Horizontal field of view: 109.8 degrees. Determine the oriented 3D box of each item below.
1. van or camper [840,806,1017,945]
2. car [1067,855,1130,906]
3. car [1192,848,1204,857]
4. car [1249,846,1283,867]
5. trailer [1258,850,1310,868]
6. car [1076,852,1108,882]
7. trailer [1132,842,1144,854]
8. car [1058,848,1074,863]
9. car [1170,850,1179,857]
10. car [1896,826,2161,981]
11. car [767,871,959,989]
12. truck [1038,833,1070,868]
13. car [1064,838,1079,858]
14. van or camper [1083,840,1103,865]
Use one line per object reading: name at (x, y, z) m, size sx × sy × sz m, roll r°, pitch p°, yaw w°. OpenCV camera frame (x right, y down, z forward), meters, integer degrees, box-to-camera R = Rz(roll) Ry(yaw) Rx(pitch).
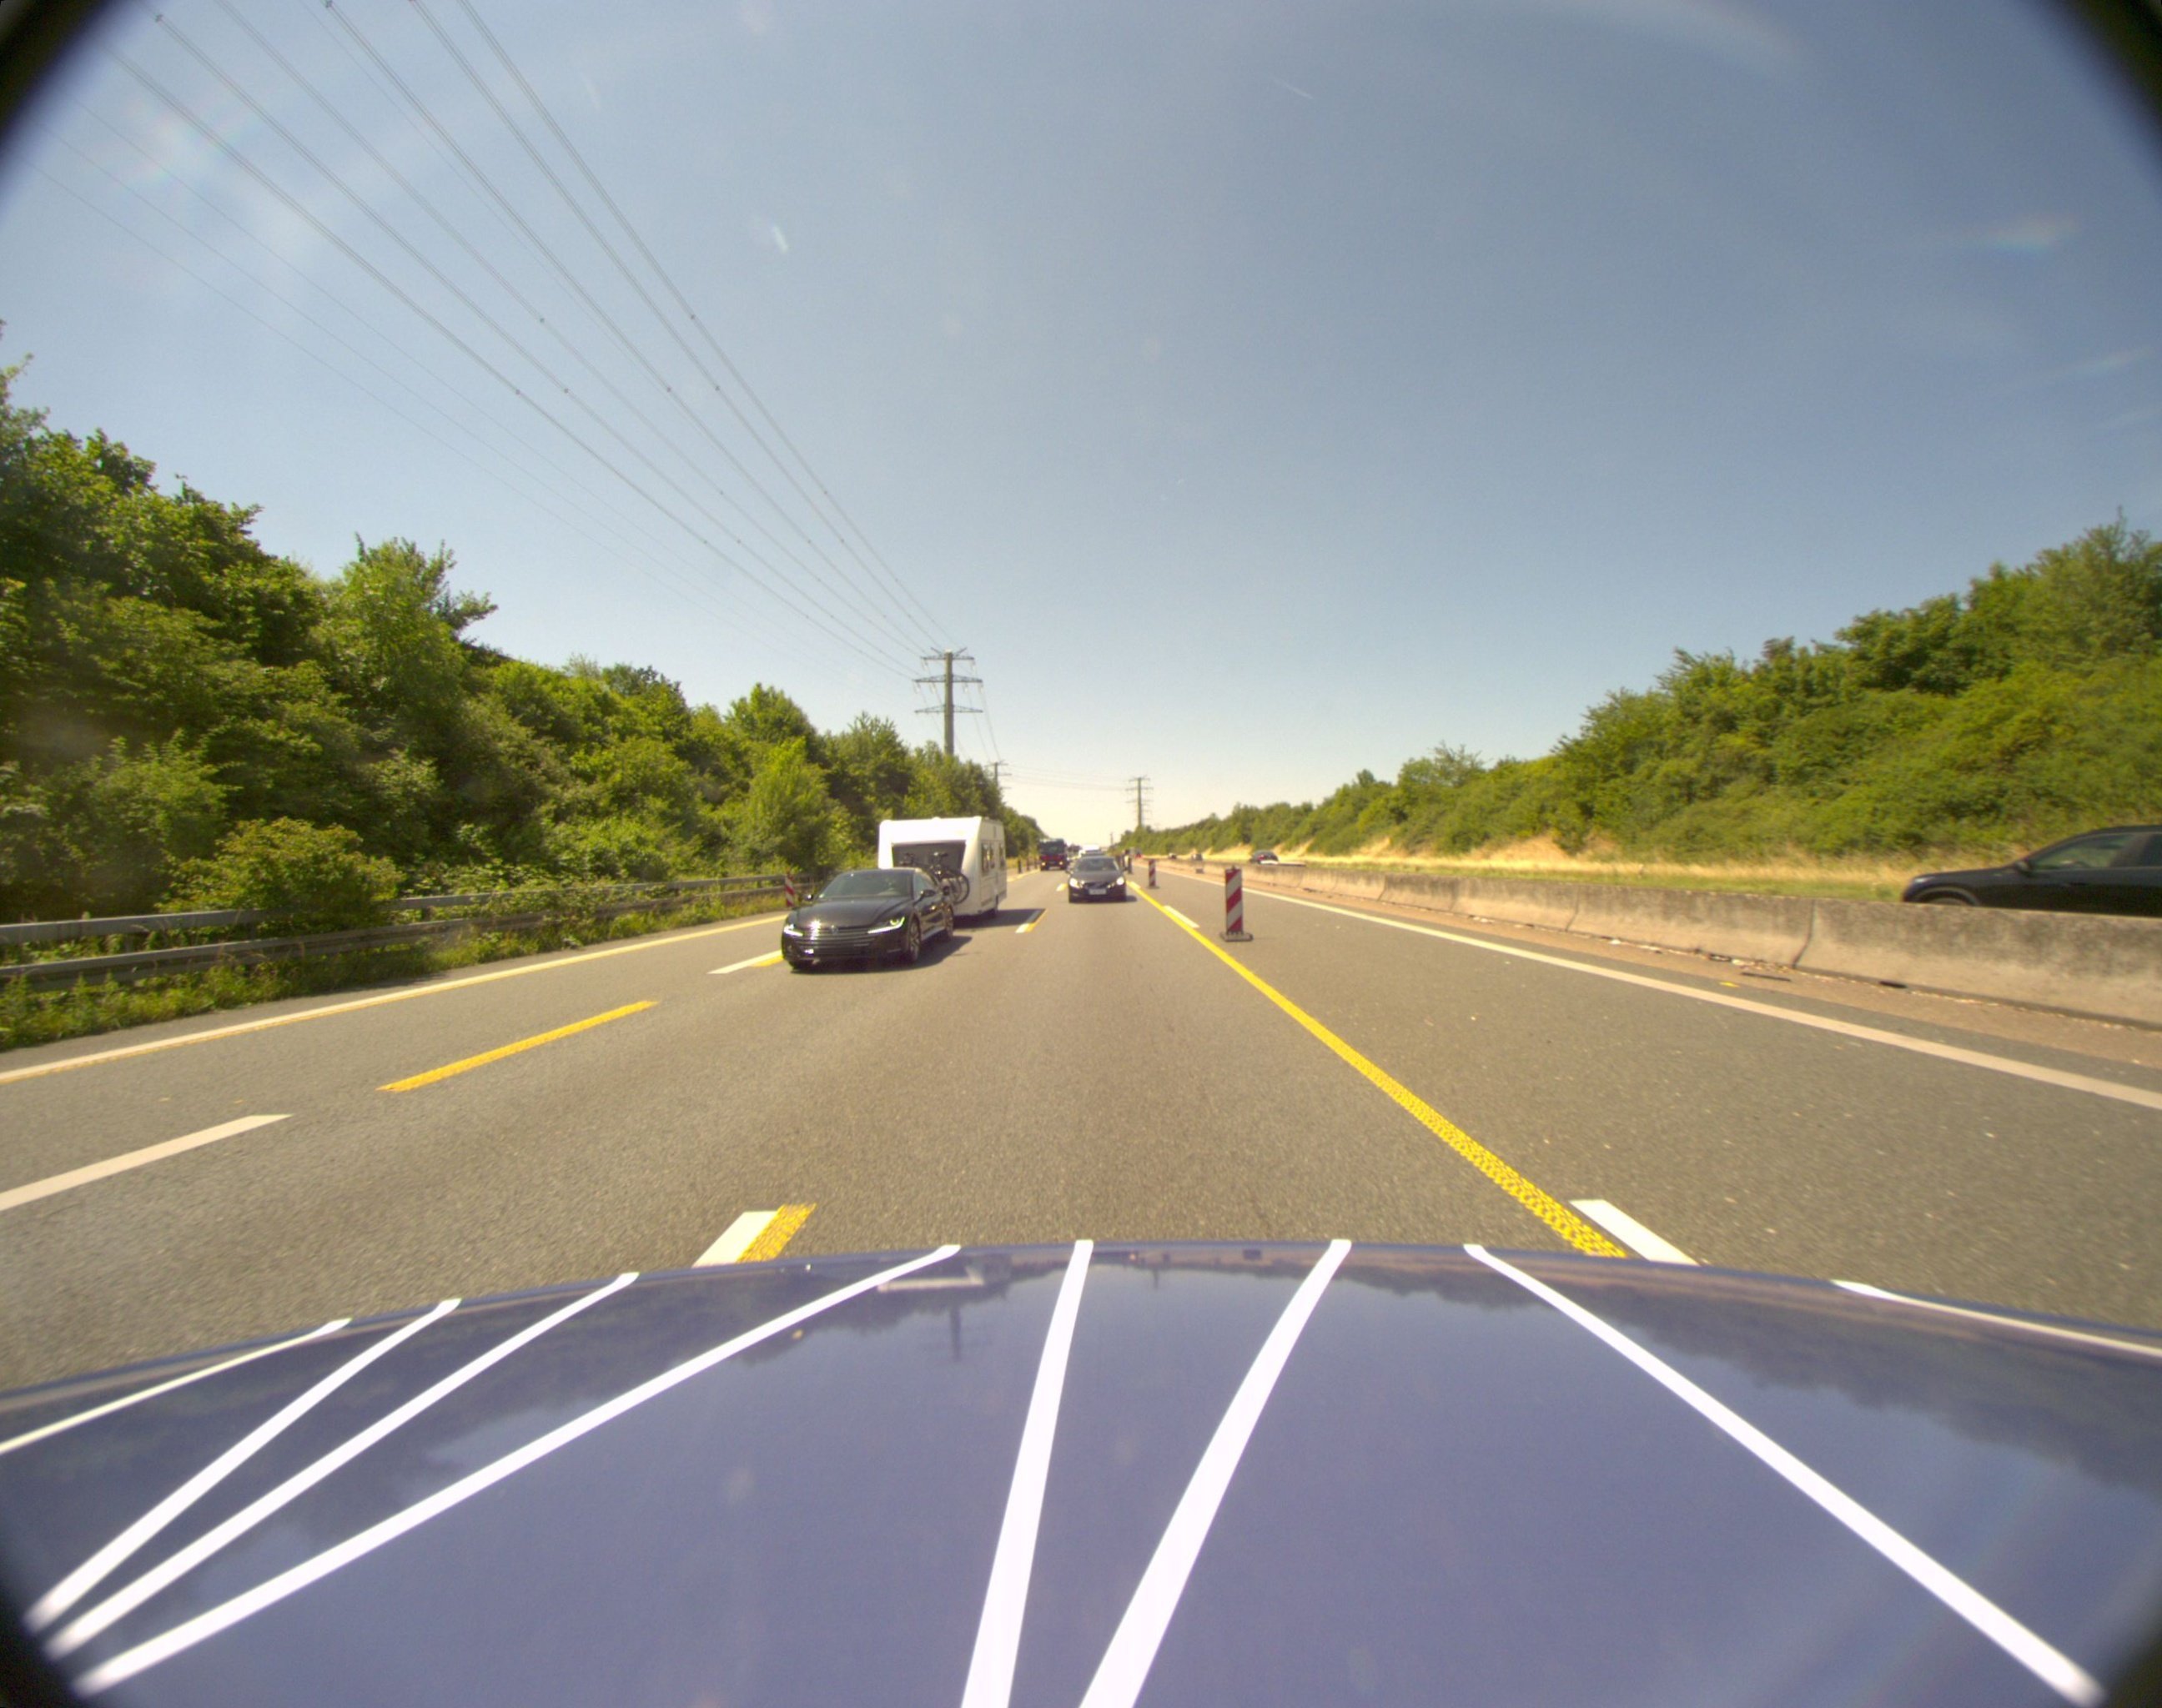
van or camper at (-3.245, 0.388, 18.664) m, size 2.432 × 2.549 × 8.417 m, roll -2°, pitch 0°, yaw 1°
car at (0.647, 0.804, 24.826) m, size 1.798 × 1.433 × 4.001 m, roll -2°, pitch 0°, yaw 5°
car at (20.385, -0.246, 132.149) m, size 1.503 × 1.539 × 4.000 m, roll -1°, pitch 0°, yaw 0°
car at (16.455, 0.187, 67.910) m, size 1.918 × 1.743 × 4.565 m, roll -2°, pitch 0°, yaw 1°
trailer at (16.418, 0.388, 61.930) m, size 2.362 × 1.336 × 7.216 m, roll -1°, pitch 0°, yaw 1°
car at (0.686, 0.752, 45.567) m, size 1.675 × 1.619 × 4.691 m, roll -3°, pitch 0°, yaw 3°
trailer at (20.051, -2.056, 267.054) m, size 2.960 × 4.038 × 13.636 m, roll 1°, pitch 0°, yaw 0°
car at (-2.027, 0.181, 103.691) m, size 1.850 × 1.810 × 3.926 m, roll -3°, pitch 1°, yaw 1°
car at (20.354, -0.157, 165.371) m, size 1.578 × 1.456 × 3.778 m, roll -1°, pitch 0°, yaw 1°
car at (12.700, 0.525, 8.737) m, size 1.877 × 1.684 × 4.498 m, roll -1°, pitch 0°, yaw 1°
car at (-3.270, 1.073, 12.330) m, size 1.800 × 1.399 × 4.209 m, roll -2°, pitch 0°, yaw 1°
truck at (-2.632, -0.349, 76.351) m, size 2.431 × 3.122 × 7.648 m, roll -4°, pitch 0°, yaw 3°
car at (-1.884, -1.264, 152.012) m, size 2.397 × 3.779 × 10.273 m, roll -3°, pitch 1°, yaw 2°
van or camper at (1.358, -0.165, 84.008) m, size 1.998 × 2.604 × 5.629 m, roll 0°, pitch 0°, yaw 2°
